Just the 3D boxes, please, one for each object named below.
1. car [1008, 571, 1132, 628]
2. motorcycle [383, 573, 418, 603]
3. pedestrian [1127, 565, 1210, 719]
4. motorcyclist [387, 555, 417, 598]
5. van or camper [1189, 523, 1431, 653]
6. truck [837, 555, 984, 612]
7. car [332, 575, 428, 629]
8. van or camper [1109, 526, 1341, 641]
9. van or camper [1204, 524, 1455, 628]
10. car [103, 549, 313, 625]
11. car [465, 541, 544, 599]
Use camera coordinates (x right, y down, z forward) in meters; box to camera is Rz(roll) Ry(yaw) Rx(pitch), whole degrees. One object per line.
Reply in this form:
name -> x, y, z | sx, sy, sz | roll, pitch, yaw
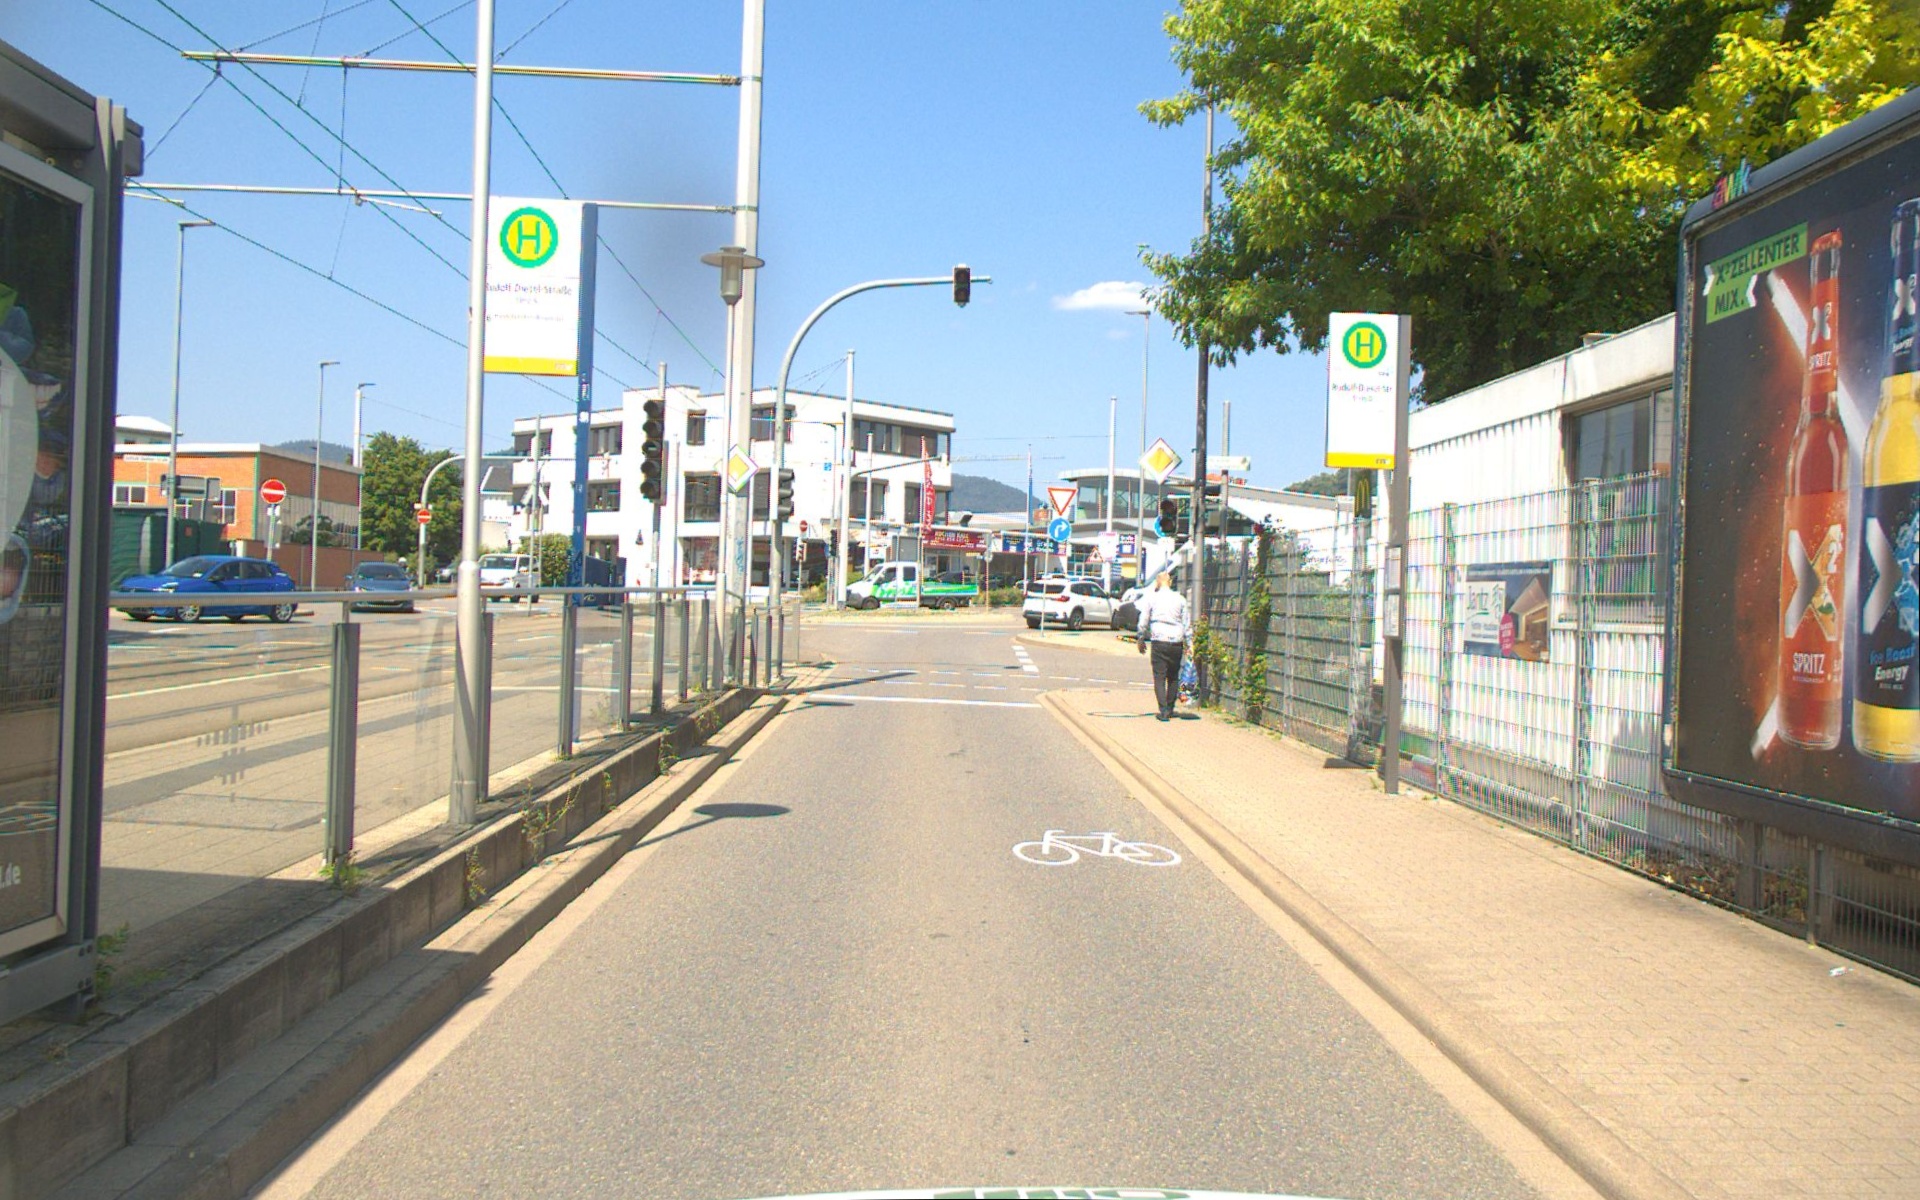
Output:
car -> 3.682, -0.008, 54.508 | 1.960, 1.763, 4.547 | 2, 1, 35
motorcycle -> -20.176, -0.418, 59.653 | 0.814, 1.029, 1.944 | 1, -1, -30
pedestrian -> 2.405, 0.472, 19.163 | 0.796, 1.729, 0.887 | 1, 0, -3
motorcyclist -> -20.093, -0.842, 59.541 | 0.826, 1.501, 0.953 | 1, -1, -29
van or camper -> 8.388, -0.328, 40.086 | 5.391, 2.862, 2.049 | 2, 2, 3
truck -> -2.245, -0.726, 75.167 | 6.272, 2.378, 2.198 | 2, 0, -19
car -> -17.379, 0.024, 49.470 | 1.887, 1.467, 4.549 | 1, 1, -30
van or camper -> 6.807, -0.447, 43.001 | 5.690, 2.822, 2.091 | 1, 1, 1
van or camper -> 10.862, -0.696, 48.970 | 6.918, 2.998, 2.334 | 0, 0, -1
car -> -16.680, -0.277, 36.900 | 1.764, 1.564, 4.161 | 2, 1, 23
car -> -18.528, -1.186, 67.483 | 2.120, 2.049, 5.012 | 3, -2, -5
